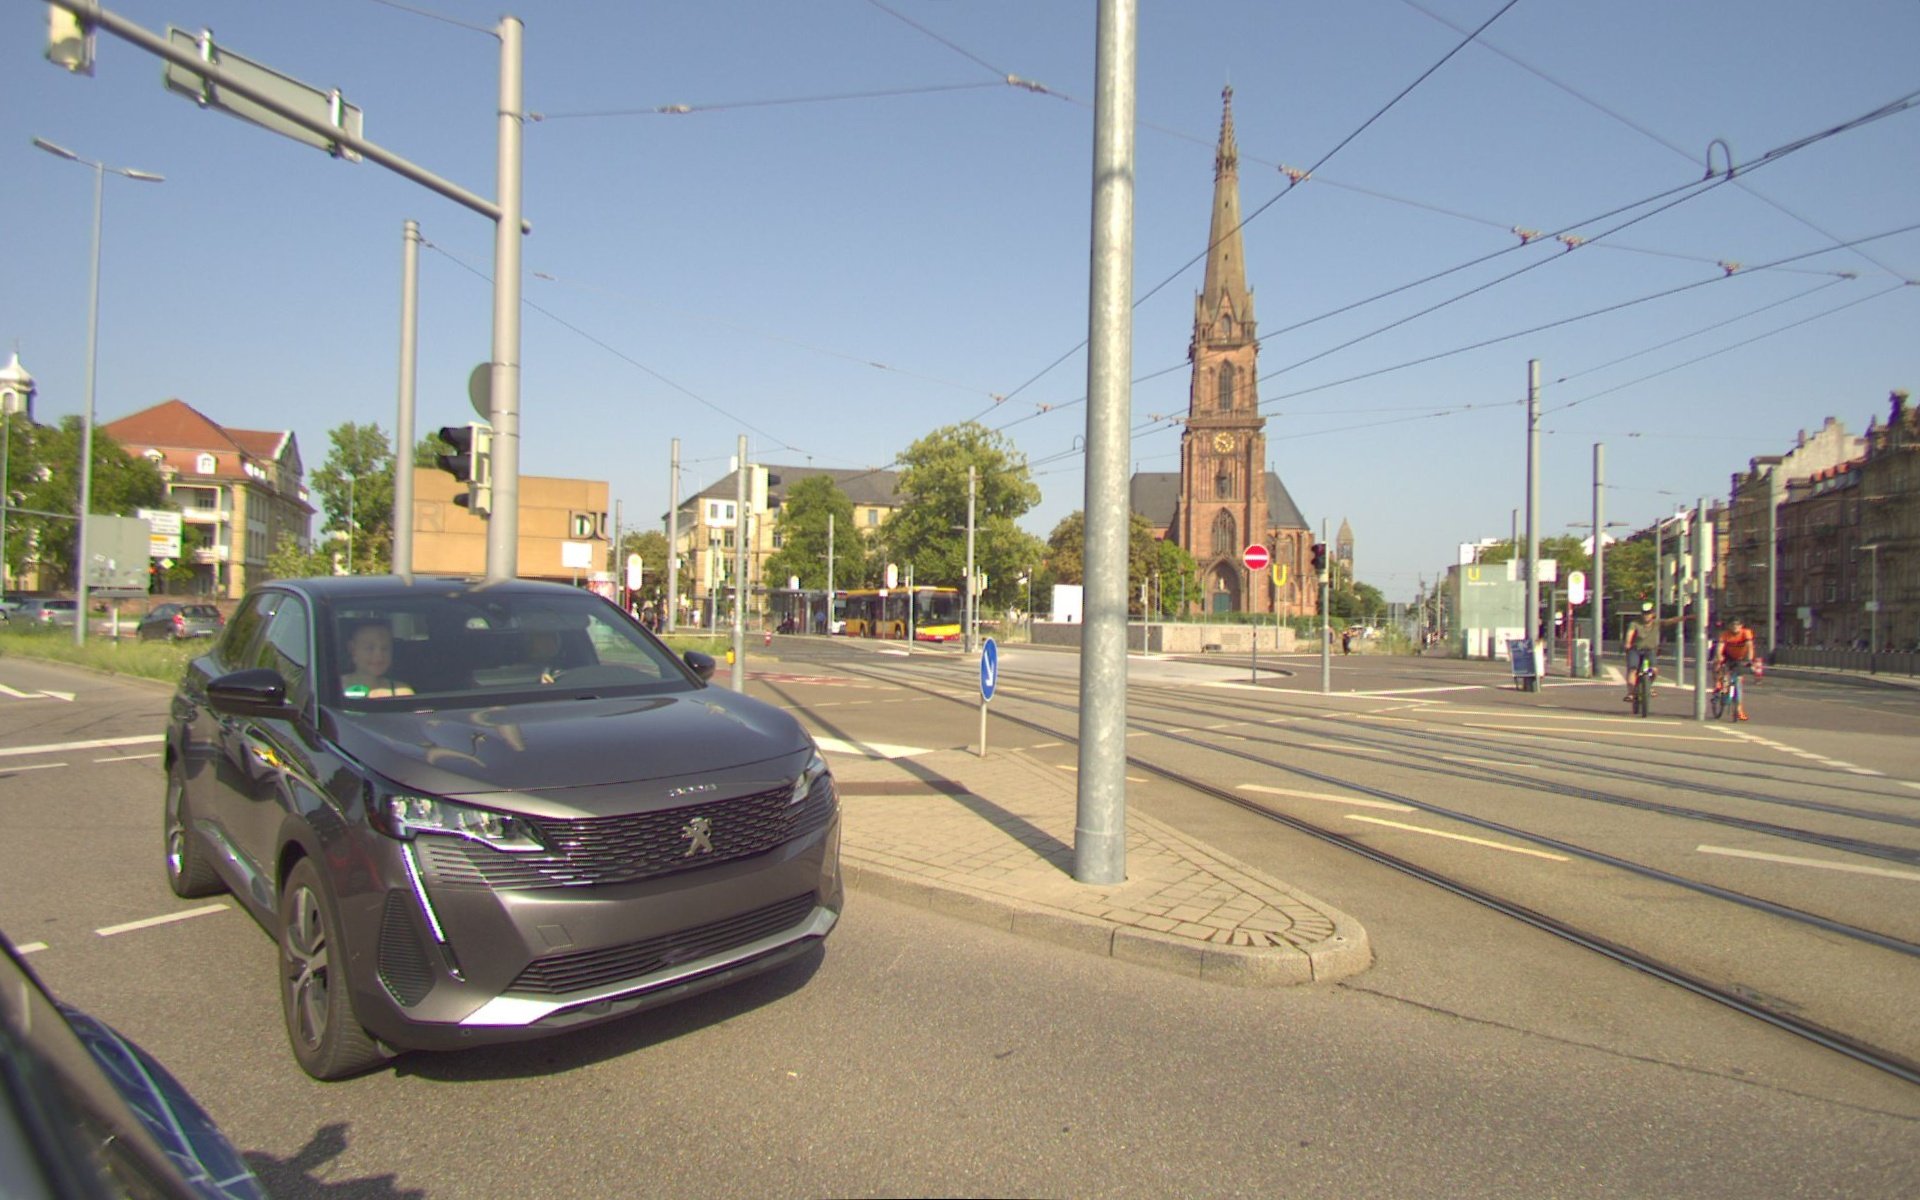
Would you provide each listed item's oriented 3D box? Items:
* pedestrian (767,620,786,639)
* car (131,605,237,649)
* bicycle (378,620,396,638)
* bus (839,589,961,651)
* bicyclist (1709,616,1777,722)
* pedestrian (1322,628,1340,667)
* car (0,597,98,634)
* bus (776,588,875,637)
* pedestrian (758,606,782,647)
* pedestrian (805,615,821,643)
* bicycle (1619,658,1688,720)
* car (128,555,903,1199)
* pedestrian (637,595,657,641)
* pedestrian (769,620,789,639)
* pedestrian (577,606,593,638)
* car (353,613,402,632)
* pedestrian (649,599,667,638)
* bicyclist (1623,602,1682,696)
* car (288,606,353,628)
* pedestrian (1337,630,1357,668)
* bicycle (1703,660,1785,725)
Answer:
[{"bbox_3d":[-11.579,1.848,63.849,1.013,1.142,0.740,2,-2,-32],"label":"pedestrian"},{"bbox_3d":[-27.335,0.939,35.620,3.665,1.463,1.873,0,-2,34],"label":"car"},{"bbox_3d":[-28.469,1.424,50.293,0.582,0.844,1.552,-2,-1,-23],"label":"bicycle"},{"bbox_3d":[-3.681,1.119,56.961,2.669,3.132,12.255,2,-2,-24],"label":"bus"},{"bbox_3d":[12.858,1.111,16.649,0.722,1.664,0.876,0,-2,27],"label":"bicyclist"},{"bbox_3d":[18.042,2.317,49.216,0.651,1.880,0.713,0,-2,35],"label":"pedestrian"},{"bbox_3d":[-37.598,0.640,41.620,4.204,1.444,1.802,0,-2,28],"label":"car"},{"bbox_3d":[-9.532,0.876,69.603,3.242,3.000,12.839,2,-2,-24],"label":"bus"},{"bbox_3d":[-8.671,1.205,46.204,0.698,1.814,0.772,0,-2,31],"label":"pedestrian"},{"bbox_3d":[-9.310,1.848,64.161,0.816,1.752,0.838,2,-2,-20],"label":"pedestrian"},{"bbox_3d":[11.774,1.484,17.225,0.722,0.939,1.802,0,-2,27],"label":"bicycle"},{"bbox_3d":[-2.335,0.689,4.509,4.374,1.503,1.663,-1,-2,45],"label":"car"},{"bbox_3d":[-12.383,0.710,40.056,0.689,1.814,0.782,2,-2,-20],"label":"pedestrian"},{"bbox_3d":[-11.268,1.857,63.033,1.013,1.142,0.740,2,-2,-32],"label":"pedestrian"},{"bbox_3d":[-19.894,1.174,53.692,0.707,1.642,0.859,2,-2,-25],"label":"pedestrian"},{"bbox_3d":[-50.235,1.933,87.370,1.607,1.509,3.840,1,-1,8],"label":"car"},{"bbox_3d":[-14.385,0.880,48.216,0.689,1.814,0.782,2,-2,-26],"label":"pedestrian"},{"bbox_3d":[11.797,0.821,17.266,0.722,1.539,0.789,0,-2,27],"label":"bicyclist"},{"bbox_3d":[-50.992,1.362,80.816,1.977,1.646,4.360,1,-1,9],"label":"car"},{"bbox_3d":[18.668,2.375,48.808,0.750,1.796,0.699,0,-2,35],"label":"pedestrian"},{"bbox_3d":[12.863,1.486,16.654,0.722,0.939,1.802,0,-2,27],"label":"bicycle"}]
